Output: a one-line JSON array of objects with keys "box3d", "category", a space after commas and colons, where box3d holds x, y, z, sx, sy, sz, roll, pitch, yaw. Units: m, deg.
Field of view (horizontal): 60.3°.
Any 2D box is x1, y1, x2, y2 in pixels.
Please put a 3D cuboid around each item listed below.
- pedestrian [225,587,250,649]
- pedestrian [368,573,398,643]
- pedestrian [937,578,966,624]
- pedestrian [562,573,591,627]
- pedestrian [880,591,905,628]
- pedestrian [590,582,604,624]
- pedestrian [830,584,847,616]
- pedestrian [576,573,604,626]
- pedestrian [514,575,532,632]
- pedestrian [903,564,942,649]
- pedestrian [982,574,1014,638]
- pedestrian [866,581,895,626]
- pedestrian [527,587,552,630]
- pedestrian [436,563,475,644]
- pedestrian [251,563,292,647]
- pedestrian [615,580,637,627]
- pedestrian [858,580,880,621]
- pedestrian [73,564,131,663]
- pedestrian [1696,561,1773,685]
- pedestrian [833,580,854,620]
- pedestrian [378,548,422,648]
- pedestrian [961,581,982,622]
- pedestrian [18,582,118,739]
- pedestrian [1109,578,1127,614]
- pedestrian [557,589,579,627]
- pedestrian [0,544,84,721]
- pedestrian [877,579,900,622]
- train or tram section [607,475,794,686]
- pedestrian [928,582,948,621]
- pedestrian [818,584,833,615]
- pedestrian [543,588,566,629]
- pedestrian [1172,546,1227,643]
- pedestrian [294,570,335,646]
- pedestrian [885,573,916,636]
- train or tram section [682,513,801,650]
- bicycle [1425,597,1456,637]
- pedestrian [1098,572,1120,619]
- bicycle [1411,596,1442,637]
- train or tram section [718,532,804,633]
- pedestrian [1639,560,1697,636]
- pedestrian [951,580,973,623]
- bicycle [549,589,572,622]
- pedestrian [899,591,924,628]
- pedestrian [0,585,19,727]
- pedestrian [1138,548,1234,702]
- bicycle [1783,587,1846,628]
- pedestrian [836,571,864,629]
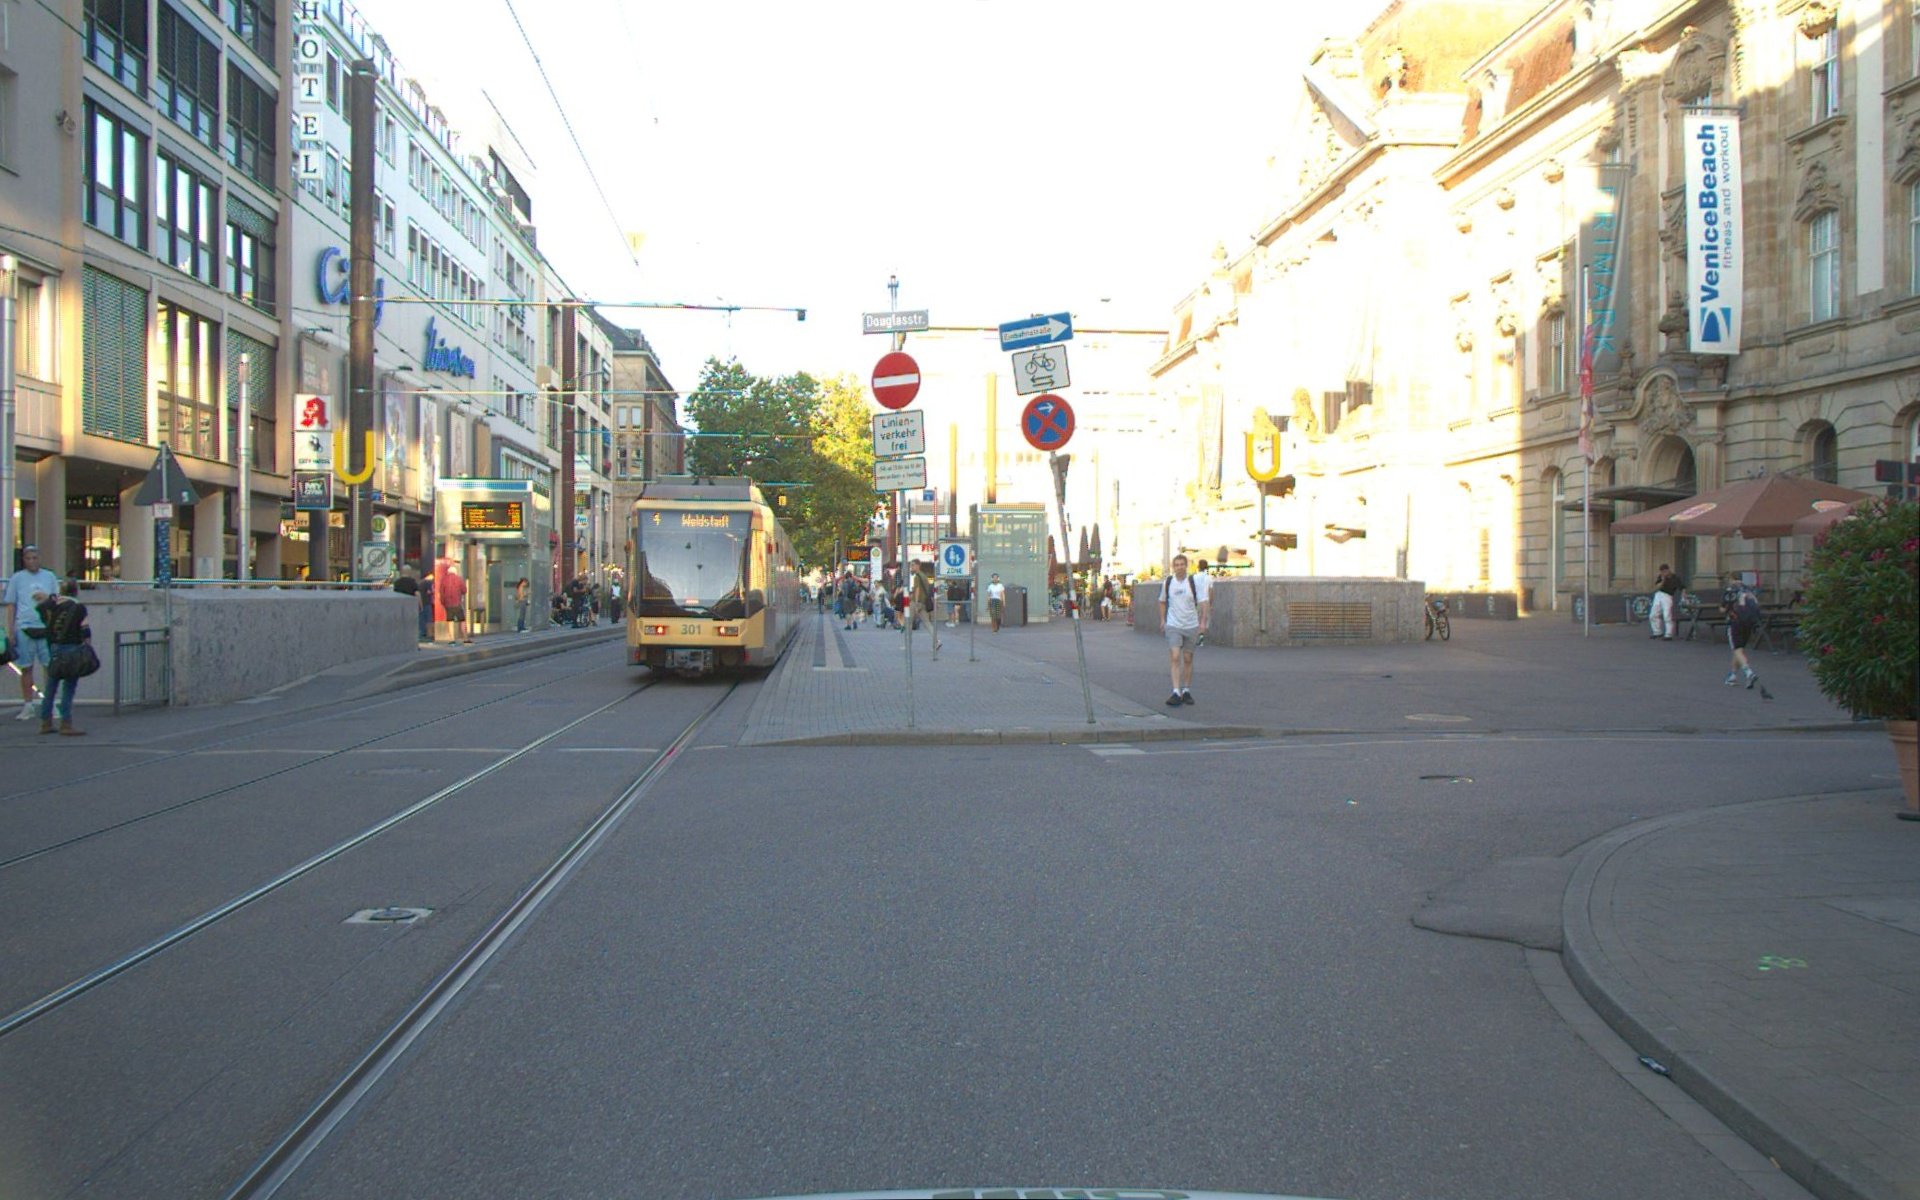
[{"box3d": [-18.397, 0.451, 42.124, 0.499, 1.574, 0.516, 0, -1, -13], "category": "pedestrian"}, {"box3d": [-13.289, 0.185, 38.094, 0.593, 1.616, 0.626, 0, -1, -14], "category": "pedestrian"}, {"box3d": [-0.330, 0.043, 61.499, 0.781, 1.690, 0.764, 0, 0, 44], "category": "pedestrian"}, {"box3d": [-12.507, 0.000, 53.906, 0.701, 1.756, 0.766, 0, -1, -35], "category": "pedestrian"}, {"box3d": [-2.319, 0.319, 57.047, 0.777, 1.243, 0.768, 0, 0, -8], "category": "pedestrian"}, {"box3d": [-15.055, 0.128, 68.610, 0.590, 1.757, 0.606, 0, -1, -12], "category": "pedestrian"}, {"box3d": [-6.350, -0.011, 86.512, 0.775, 1.690, 0.770, 0, 0, 7], "category": "pedestrian"}, {"box3d": [-12.458, -0.021, 55.689, 0.701, 1.756, 0.766, 0, -1, -34], "category": "pedestrian"}, {"box3d": [-12.668, 0.113, 47.925, 0.502, 1.646, 0.503, 0, -1, -14], "category": "pedestrian"}, {"box3d": [-0.789, 0.135, 34.655, 0.706, 1.756, 0.707, 0, -1, -13], "category": "pedestrian"}, {"box3d": [1.109, 0.178, 48.592, 0.758, 1.855, 0.938, -1, 0, -8], "category": "pedestrian"}, {"box3d": [-2.865, 0.129, 59.391, 0.751, 1.606, 0.794, 0, 0, 25], "category": "pedestrian"}, {"box3d": [-14.057, 0.289, 55.275, 0.693, 1.403, 0.719, 0, -1, -6], "category": "pedestrian"}, {"box3d": [-10.935, 0.076, 35.863, 0.701, 1.727, 0.784, 0, -1, -11], "category": "pedestrian"}, {"box3d": [-14.589, 0.100, 35.049, 0.594, 1.756, 0.624, -1, -1, 42], "category": "pedestrian"}, {"box3d": [-12.760, 0.139, 63.225, 0.758, 1.756, 0.709, 0, -1, -5], "category": "pedestrian"}, {"box3d": [-3.789, 0.004, 69.070, 0.775, 1.690, 0.770, 0, 0, 7], "category": "pedestrian"}, {"box3d": [-15.430, 0.239, 29.758, 0.700, 1.756, 0.708, 0, -1, -6], "category": "pedestrian"}, {"box3d": [11.825, 0.340, 25.266, 0.792, 1.855, 0.806, 0, 1, 0], "category": "pedestrian"}, {"box3d": [-5.064, -0.005, 71.957, 0.750, 1.690, 0.795, 0, 0, 7], "category": "pedestrian"}, {"box3d": [-11.064, -0.041, 32.688, 0.700, 1.959, 0.708, 0, -1, -10], "category": "pedestrian"}, {"box3d": [0.489, 0.062, 68.405, 0.775, 1.690, 0.770, 0, 0, 7], "category": "pedestrian"}, {"box3d": [-9.070, 0.610, 16.832, 0.669, 1.569, 0.606, 0, -1, 6], "category": "pedestrian"}, {"box3d": [8.093, -0.198, 84.794, 0.758, 1.856, 0.849, 0, 0, -8], "category": "pedestrian"}, {"box3d": [-14.361, 0.291, 60.671, 0.693, 1.403, 0.719, 0, -1, -6], "category": "pedestrian"}, {"box3d": [-10.448, 0.362, 18.725, 0.759, 1.960, 0.707, 0, -1, -13], "category": "pedestrian"}, {"box3d": [-2.778, 0.013, 64.353, 0.775, 1.690, 0.770, 0, 0, 7], "category": "pedestrian"}, {"box3d": [-4.880, -0.377, 33.754, 2.746, 3.377, 14.493, 0, 0, -5], "category": "train or tram section"}, {"box3d": [-0.959, 0.047, 72.330, 0.775, 1.690, 0.770, 0, 0, 7], "category": "pedestrian"}, {"box3d": [-7.472, -0.020, 91.930, 0.750, 1.690, 0.795, 0, 0, 4], "category": "pedestrian"}, {"box3d": [-14.068, 0.291, 57.380, 0.693, 1.403, 0.719, 0, -1, -6], "category": "pedestrian"}, {"box3d": [5.177, -0.116, 35.741, 0.762, 2.049, 0.907, 1, 0, -32], "category": "pedestrian"}, {"box3d": [-13.828, 0.169, 35.434, 0.594, 1.616, 0.624, -1, -1, 43], "category": "pedestrian"}, {"box3d": [-1.802, 0.135, 49.693, 0.722, 1.855, 0.815, 0, 0, -19], "category": "pedestrian"}, {"box3d": [-6.106, -0.515, 48.200, 2.746, 3.377, 14.493, 0, 0, -5], "category": "train or tram section"}, {"box3d": [10.703, 0.372, 36.843, 0.309, 0.882, 0.999, -1, 0, -6], "category": "bicycle"}, {"box3d": [5.927, -0.164, 65.768, 0.830, 1.855, 0.775, 0, 0, 0], "category": "pedestrian"}, {"box3d": [10.385, 0.368, 36.813, 0.309, 0.882, 0.999, -1, 0, -6], "category": "bicycle"}, {"box3d": [-7.338, -0.637, 62.633, 2.746, 3.377, 14.493, 0, 0, -5], "category": "train or tram section"}, {"box3d": [15.127, -0.057, 35.367, 0.830, 1.593, 0.850, 0, 2, -4], "category": "pedestrian"}, {"box3d": [0.074, 0.052, 64.742, 0.775, 1.690, 0.770, 0, 0, 7], "category": "pedestrian"}, {"box3d": [-14.457, 0.189, 59.787, 0.428, 1.162, 1.603, 0, 0, -28], "category": "bicycle"}, {"box3d": [-1.666, 0.327, 56.298, 0.777, 1.243, 0.768, 0, 0, -8], "category": "pedestrian"}, {"box3d": [-10.578, 0.599, 17.849, 0.593, 1.520, 0.553, 0, -1, -13], "category": "pedestrian"}, {"box3d": [2.859, 0.315, 20.990, 0.994, 1.896, 1.041, 1, 0, -5], "category": "pedestrian"}, {"box3d": [19.408, 0.165, 37.558, 1.293, 0.909, 0.409, -1, 1, -9], "category": "bicycle"}, {"box3d": [-3.588, -0.011, 53.795, 0.722, 1.855, 0.815, 0, 0, -19], "category": "pedestrian"}]
